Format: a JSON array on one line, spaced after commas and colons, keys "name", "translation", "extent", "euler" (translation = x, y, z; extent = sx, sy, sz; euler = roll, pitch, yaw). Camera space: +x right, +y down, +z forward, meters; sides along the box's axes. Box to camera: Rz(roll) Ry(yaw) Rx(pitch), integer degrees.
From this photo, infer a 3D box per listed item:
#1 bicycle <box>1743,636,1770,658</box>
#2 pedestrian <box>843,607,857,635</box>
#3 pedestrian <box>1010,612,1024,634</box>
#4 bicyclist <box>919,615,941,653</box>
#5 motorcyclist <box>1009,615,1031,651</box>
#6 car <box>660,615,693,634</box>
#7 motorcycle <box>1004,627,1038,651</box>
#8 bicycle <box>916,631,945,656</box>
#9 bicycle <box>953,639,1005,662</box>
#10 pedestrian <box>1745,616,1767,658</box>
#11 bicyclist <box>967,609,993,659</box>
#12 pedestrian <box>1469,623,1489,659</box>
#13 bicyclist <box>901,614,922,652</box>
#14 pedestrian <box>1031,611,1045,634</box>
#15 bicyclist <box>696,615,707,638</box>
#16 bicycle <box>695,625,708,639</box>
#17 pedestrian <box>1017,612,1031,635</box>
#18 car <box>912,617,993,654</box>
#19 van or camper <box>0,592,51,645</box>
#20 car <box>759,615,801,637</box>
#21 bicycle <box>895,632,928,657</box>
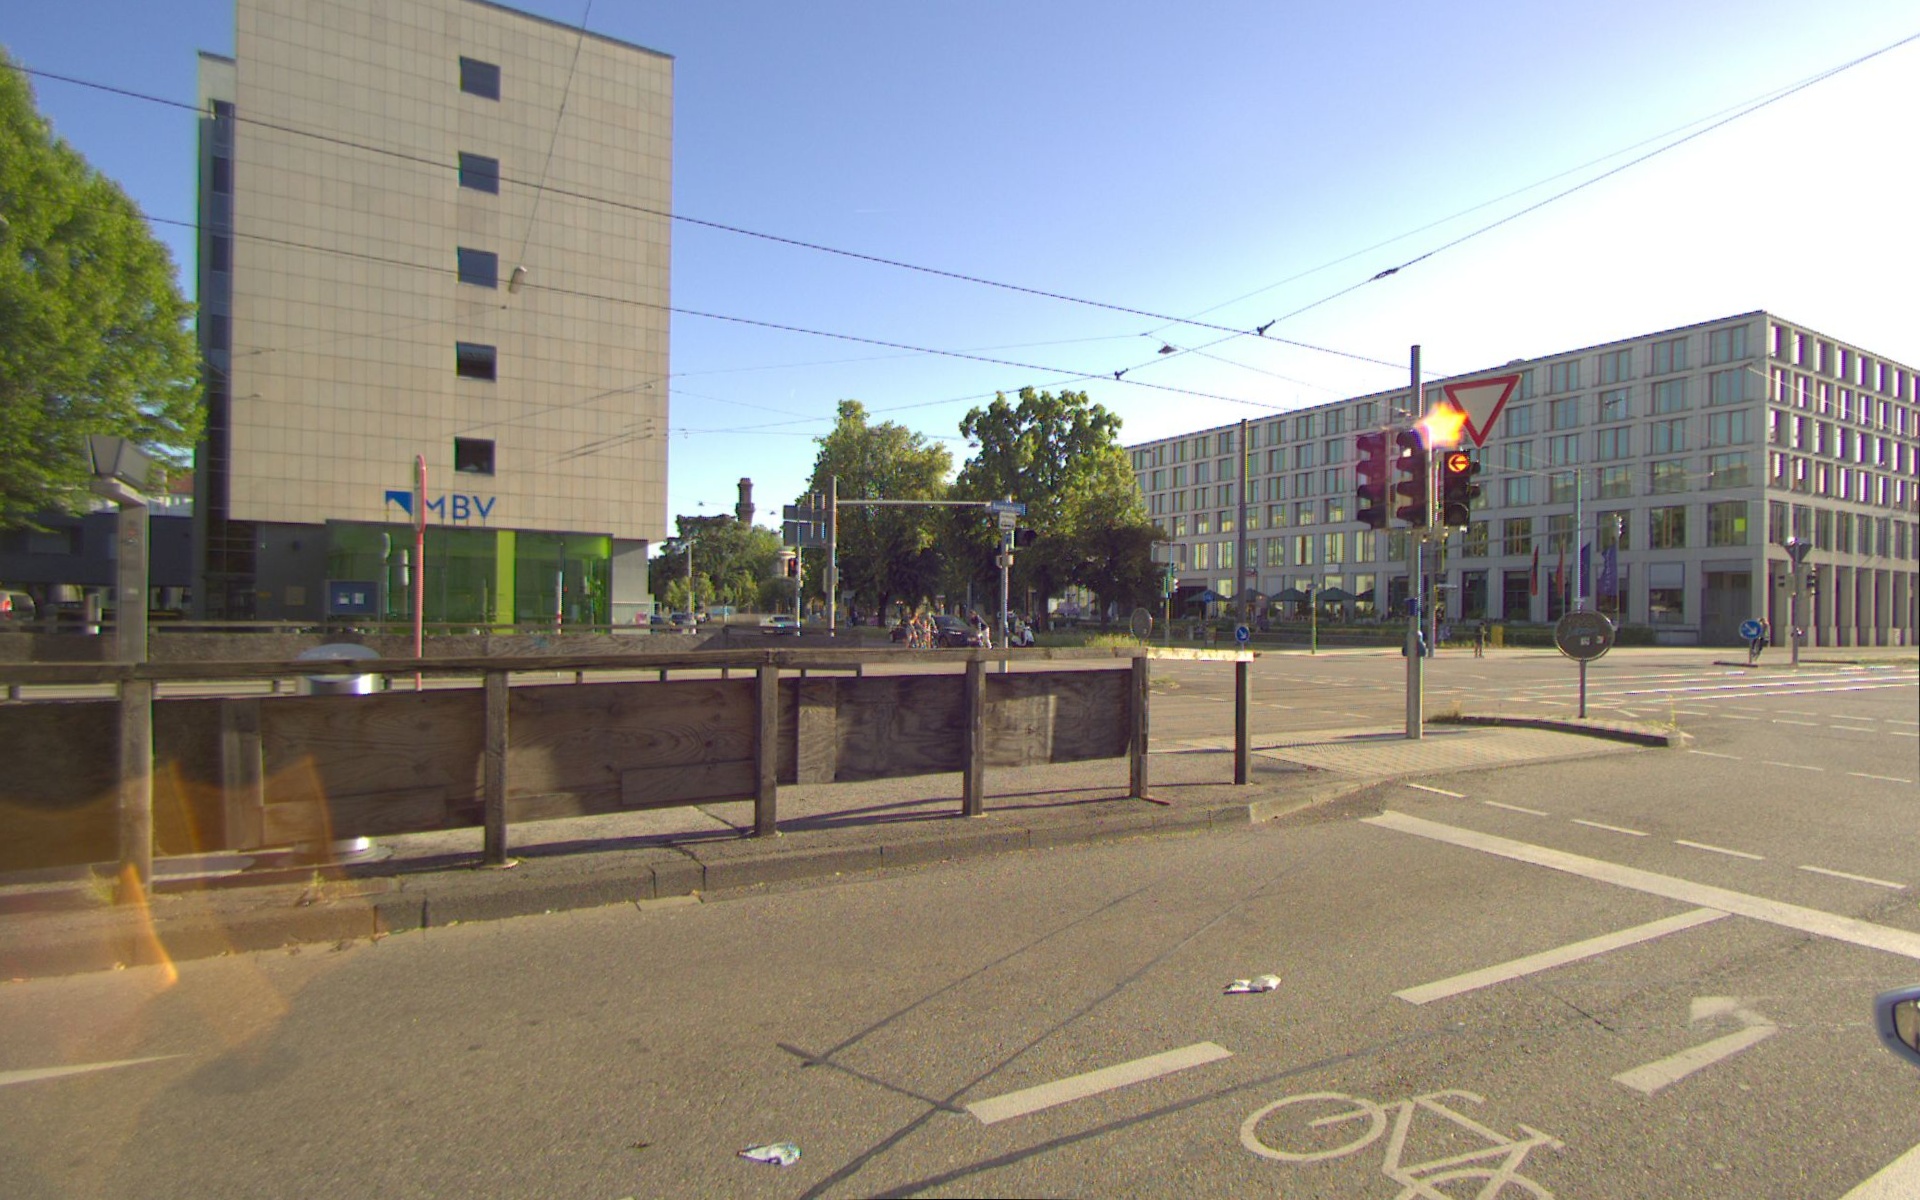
[{"name": "bicycle", "translation": [31.735, 1.865, 40.051], "extent": [0.563, 0.834, 1.716], "euler": [0, -1, 29]}, {"name": "pedestrian", "translation": [-8.154, 1.558, 74.131], "extent": [0.772, 2.040, 0.747], "euler": [1, -1, -31]}, {"name": "pedestrian", "translation": [4.706, 1.880, 82.978], "extent": [0.858, 1.738, 0.737], "euler": [2, 0, -26]}, {"name": "bicyclist", "translation": [-1.274, 1.426, 42.410], "extent": [0.576, 1.563, 0.890], "euler": [1, -1, -27]}, {"name": "motorcyclist", "translation": [2.806, 1.539, 46.981], "extent": [0.624, 1.601, 0.812], "euler": [-3, 1, -28]}, {"name": "car", "translation": [-24.751, 2.113, 87.624], "extent": [1.975, 1.472, 4.179], "euler": [2, 0, -28]}, {"name": "motorcycle", "translation": [2.847, 1.820, 46.950], "extent": [0.624, 1.030, 1.972], "euler": [-3, 1, -28]}, {"name": "bicycle", "translation": [-1.267, 1.828, 42.375], "extent": [0.576, 1.032, 1.666], "euler": [1, -1, -27]}, {"name": "bicycle", "translation": [0.686, 1.809, 36.056], "extent": [1.831, 0.798, 0.532], "euler": [1, -1, -31]}, {"name": "pedestrian", "translation": [31.713, 1.468, 40.017], "extent": [0.563, 1.616, 0.743], "euler": [0, -1, 29]}, {"name": "bicyclist", "translation": [0.715, 1.206, 36.061], "extent": [0.762, 1.784, 0.532], "euler": [1, -1, -30]}, {"name": "pedestrian", "translation": [25.173, 1.972, 48.718], "extent": [0.595, 1.703, 0.605], "euler": [1, -1, -4]}, {"name": "bicyclist", "translation": [-2.034, 1.368, 42.010], "extent": [0.577, 1.563, 0.833], "euler": [1, -2, -32]}, {"name": "pedestrian", "translation": [6.153, 1.780, 79.391], "extent": [0.858, 1.738, 0.737], "euler": [2, 0, -26]}, {"name": "bicyclist", "translation": [-18.484, 1.881, 71.884], "extent": [0.576, 1.658, 0.890], "euler": [1, -1, -27]}, {"name": "bicycle", "translation": [-18.497, 2.284, 71.888], "extent": [0.576, 1.032, 1.666], "euler": [1, -1, -27]}, {"name": "pedestrian", "translation": [5.087, 1.875, 79.622], "extent": [0.858, 1.738, 0.737], "euler": [2, 0, -26]}, {"name": "car", "translation": [-0.368, 1.554, 44.757], "extent": [1.925, 1.561, 3.969], "euler": [2, -2, -29]}, {"name": "van or camper", "translation": [-27.889, 0.433, 27.560], "extent": [3.954, 1.425, 1.954], "euler": [4, -3, -30]}, {"name": "car", "translation": [-13.594, 1.961, 75.683], "extent": [1.975, 1.472, 4.179], "euler": [2, 0, -28]}, {"name": "bicycle", "translation": [-2.039, 1.846, 42.014], "extent": [0.577, 1.032, 1.806], "euler": [1, -3, -31]}]
